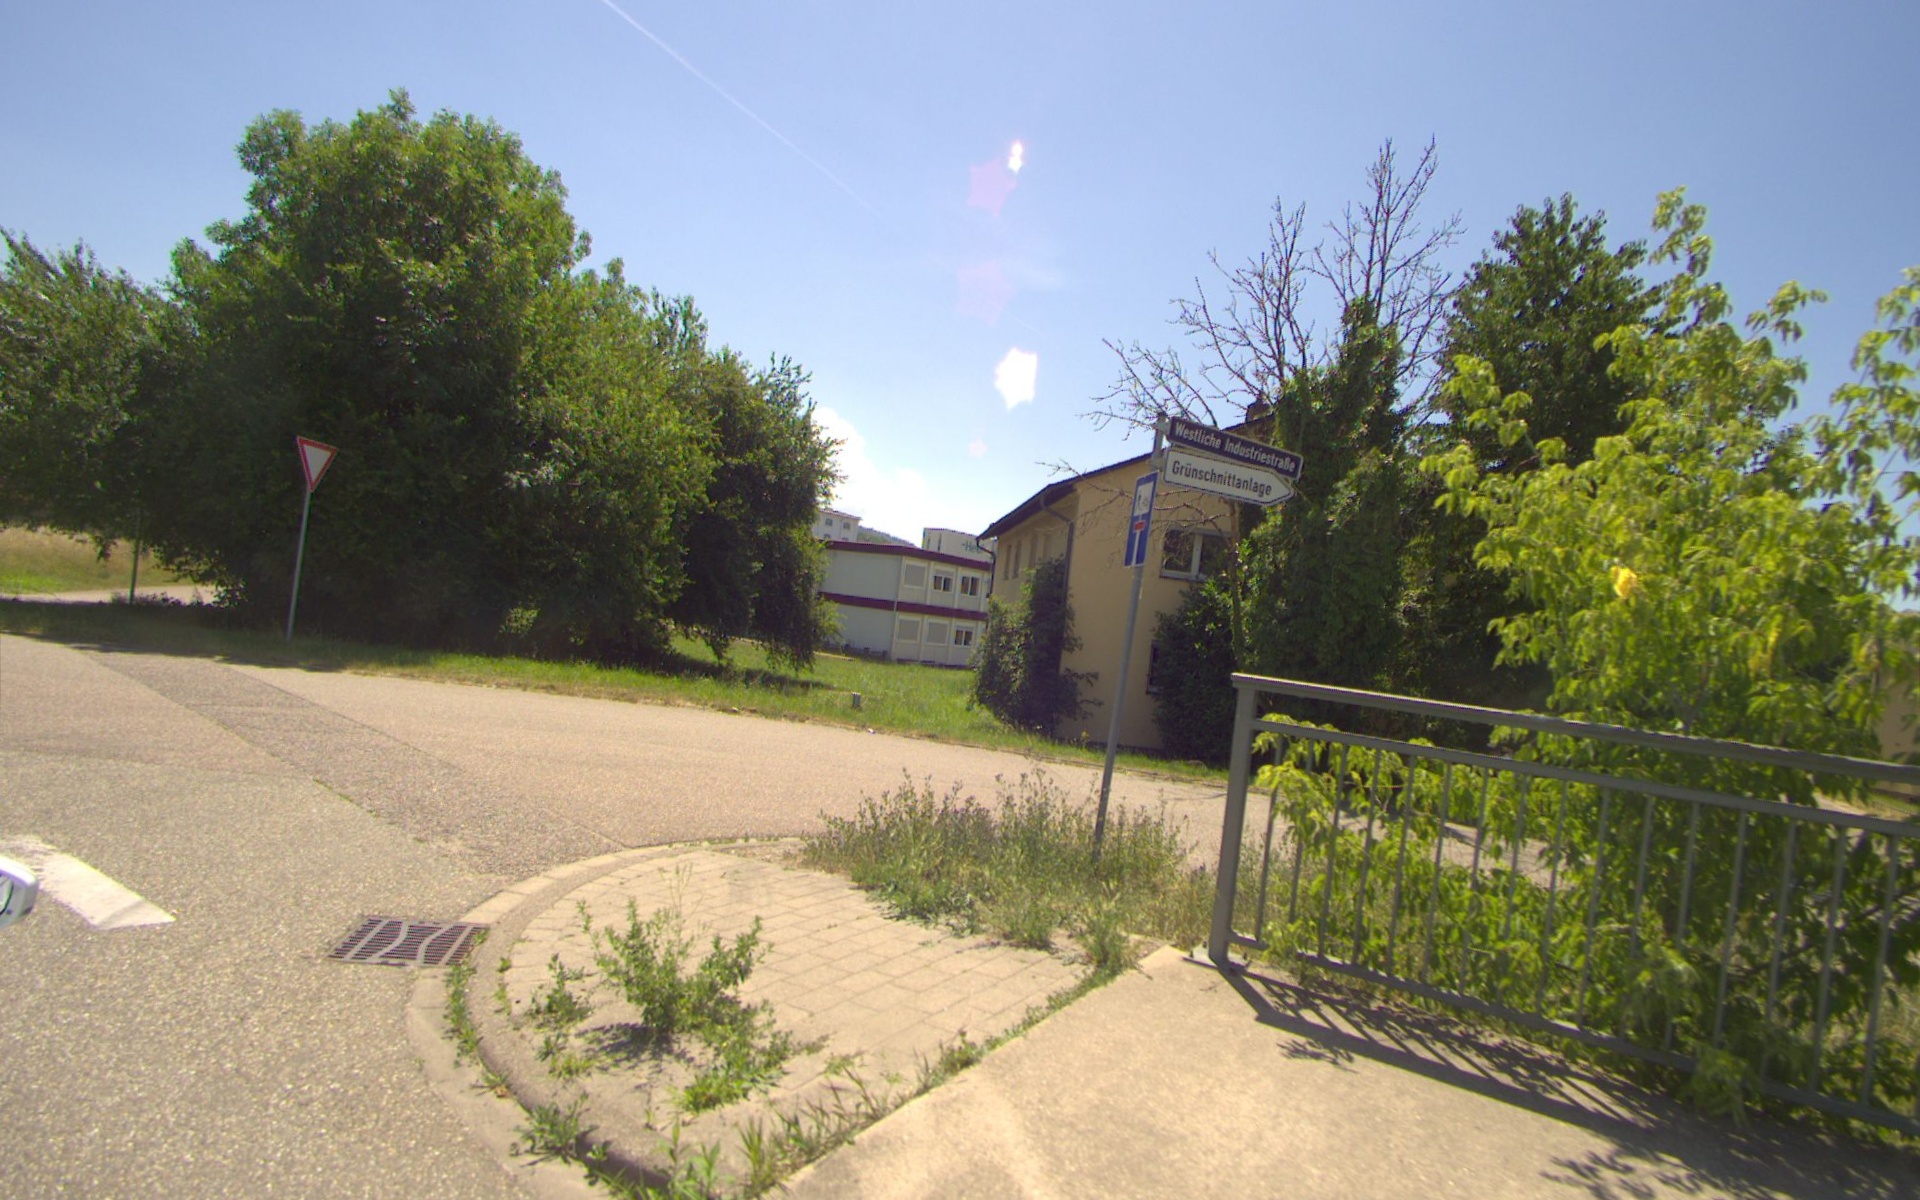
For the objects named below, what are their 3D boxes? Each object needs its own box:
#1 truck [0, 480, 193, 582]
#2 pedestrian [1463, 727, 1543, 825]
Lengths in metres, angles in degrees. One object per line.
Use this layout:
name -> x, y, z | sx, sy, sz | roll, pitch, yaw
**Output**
truck -> -48.067, -3.789, 52.847 | 2.959, 4.228, 11.780 | 5, -2, 35
pedestrian -> 9.000, 2.897, 16.680 | 0.839, 1.412, 0.679 | 11, 5, 44
